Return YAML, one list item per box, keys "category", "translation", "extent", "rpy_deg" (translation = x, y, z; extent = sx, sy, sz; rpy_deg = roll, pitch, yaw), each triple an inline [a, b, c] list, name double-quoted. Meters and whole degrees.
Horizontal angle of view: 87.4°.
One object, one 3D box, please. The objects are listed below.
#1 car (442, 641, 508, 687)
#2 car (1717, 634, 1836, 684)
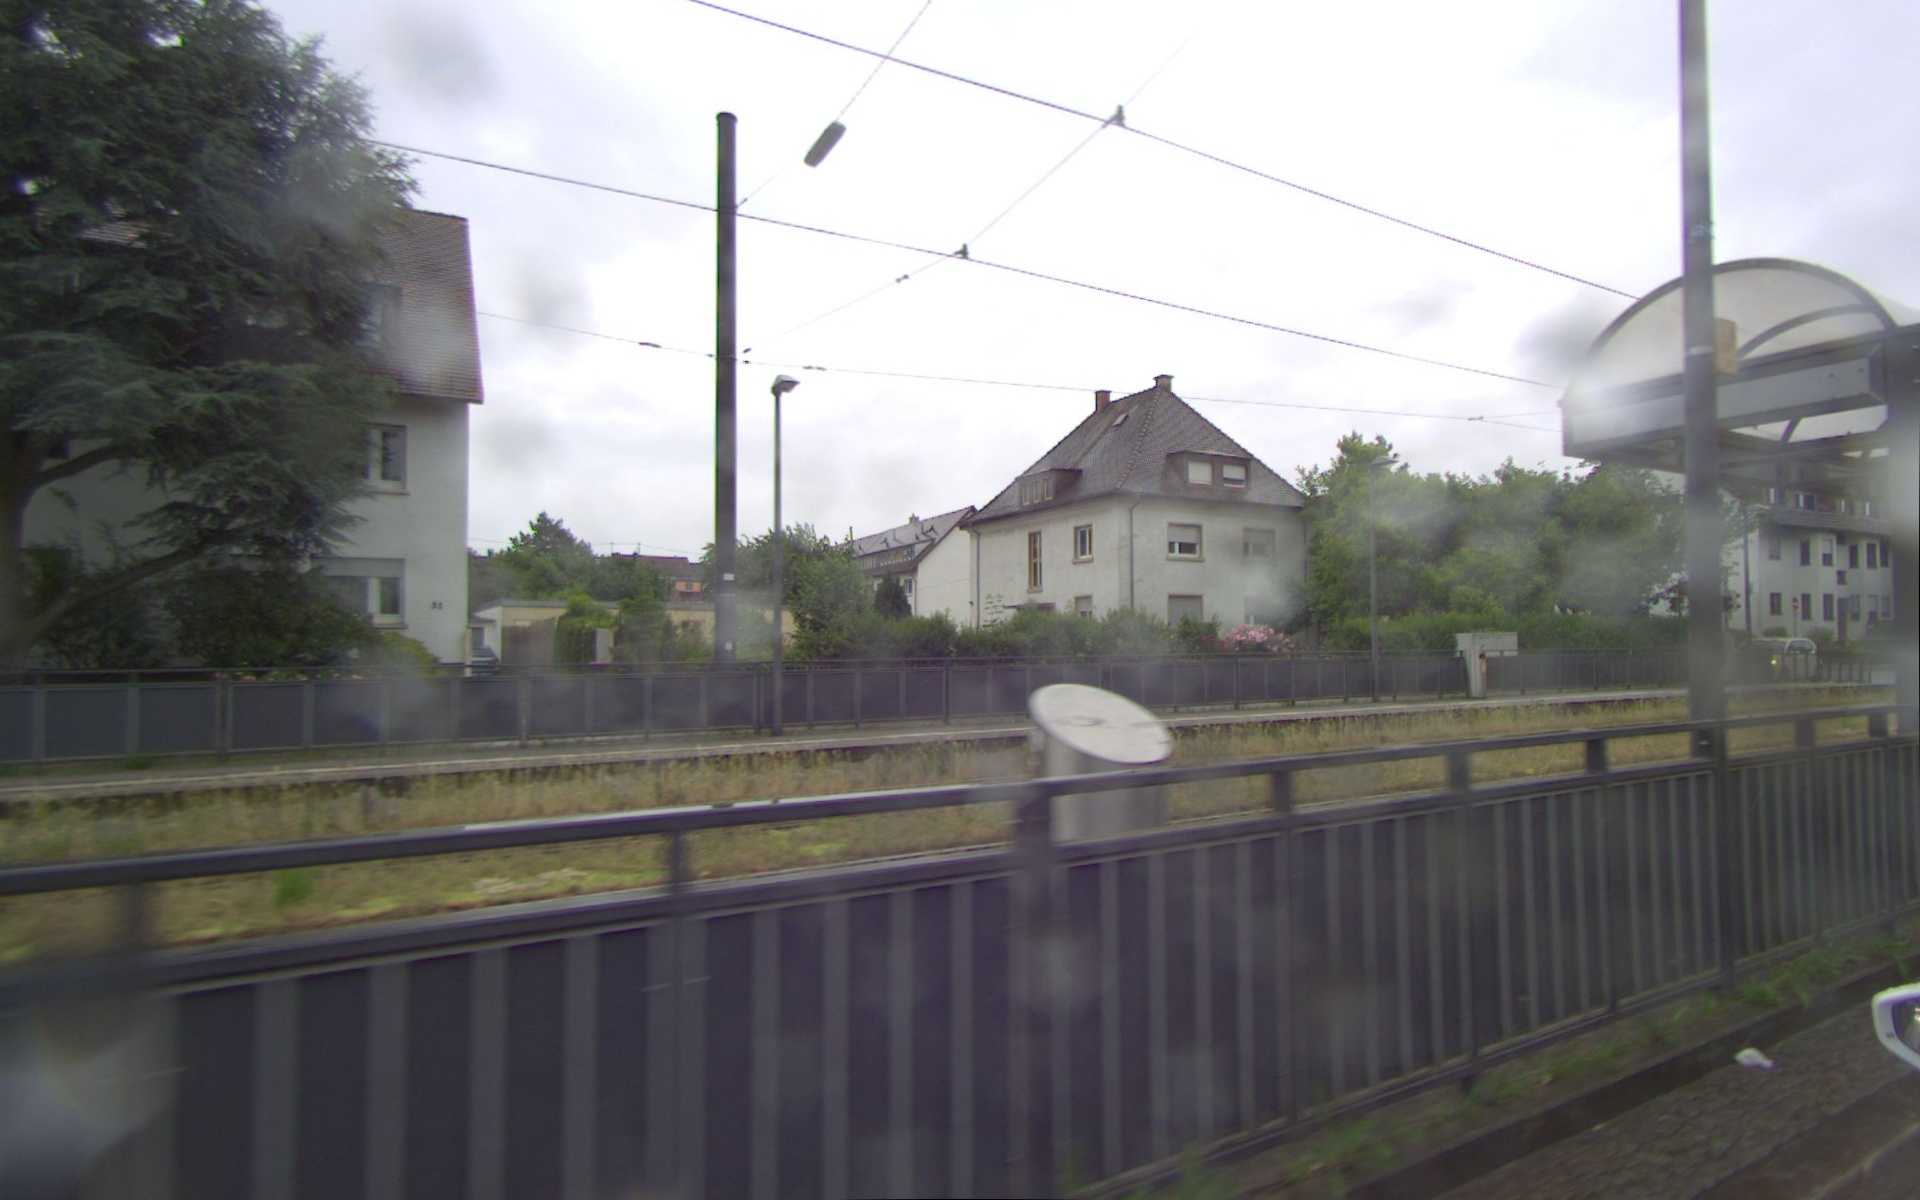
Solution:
- category: "car"
  translation: [-18.878, 2.443, 39.024]
  extent: [1.977, 1.595, 3.968]
  rpy_deg: [2, -2, -30]
- category: "car"
  translation: [26.348, 1.881, 32.412]
  extent: [3.951, 1.513, 1.626]
  rpy_deg: [2, -2, -29]
